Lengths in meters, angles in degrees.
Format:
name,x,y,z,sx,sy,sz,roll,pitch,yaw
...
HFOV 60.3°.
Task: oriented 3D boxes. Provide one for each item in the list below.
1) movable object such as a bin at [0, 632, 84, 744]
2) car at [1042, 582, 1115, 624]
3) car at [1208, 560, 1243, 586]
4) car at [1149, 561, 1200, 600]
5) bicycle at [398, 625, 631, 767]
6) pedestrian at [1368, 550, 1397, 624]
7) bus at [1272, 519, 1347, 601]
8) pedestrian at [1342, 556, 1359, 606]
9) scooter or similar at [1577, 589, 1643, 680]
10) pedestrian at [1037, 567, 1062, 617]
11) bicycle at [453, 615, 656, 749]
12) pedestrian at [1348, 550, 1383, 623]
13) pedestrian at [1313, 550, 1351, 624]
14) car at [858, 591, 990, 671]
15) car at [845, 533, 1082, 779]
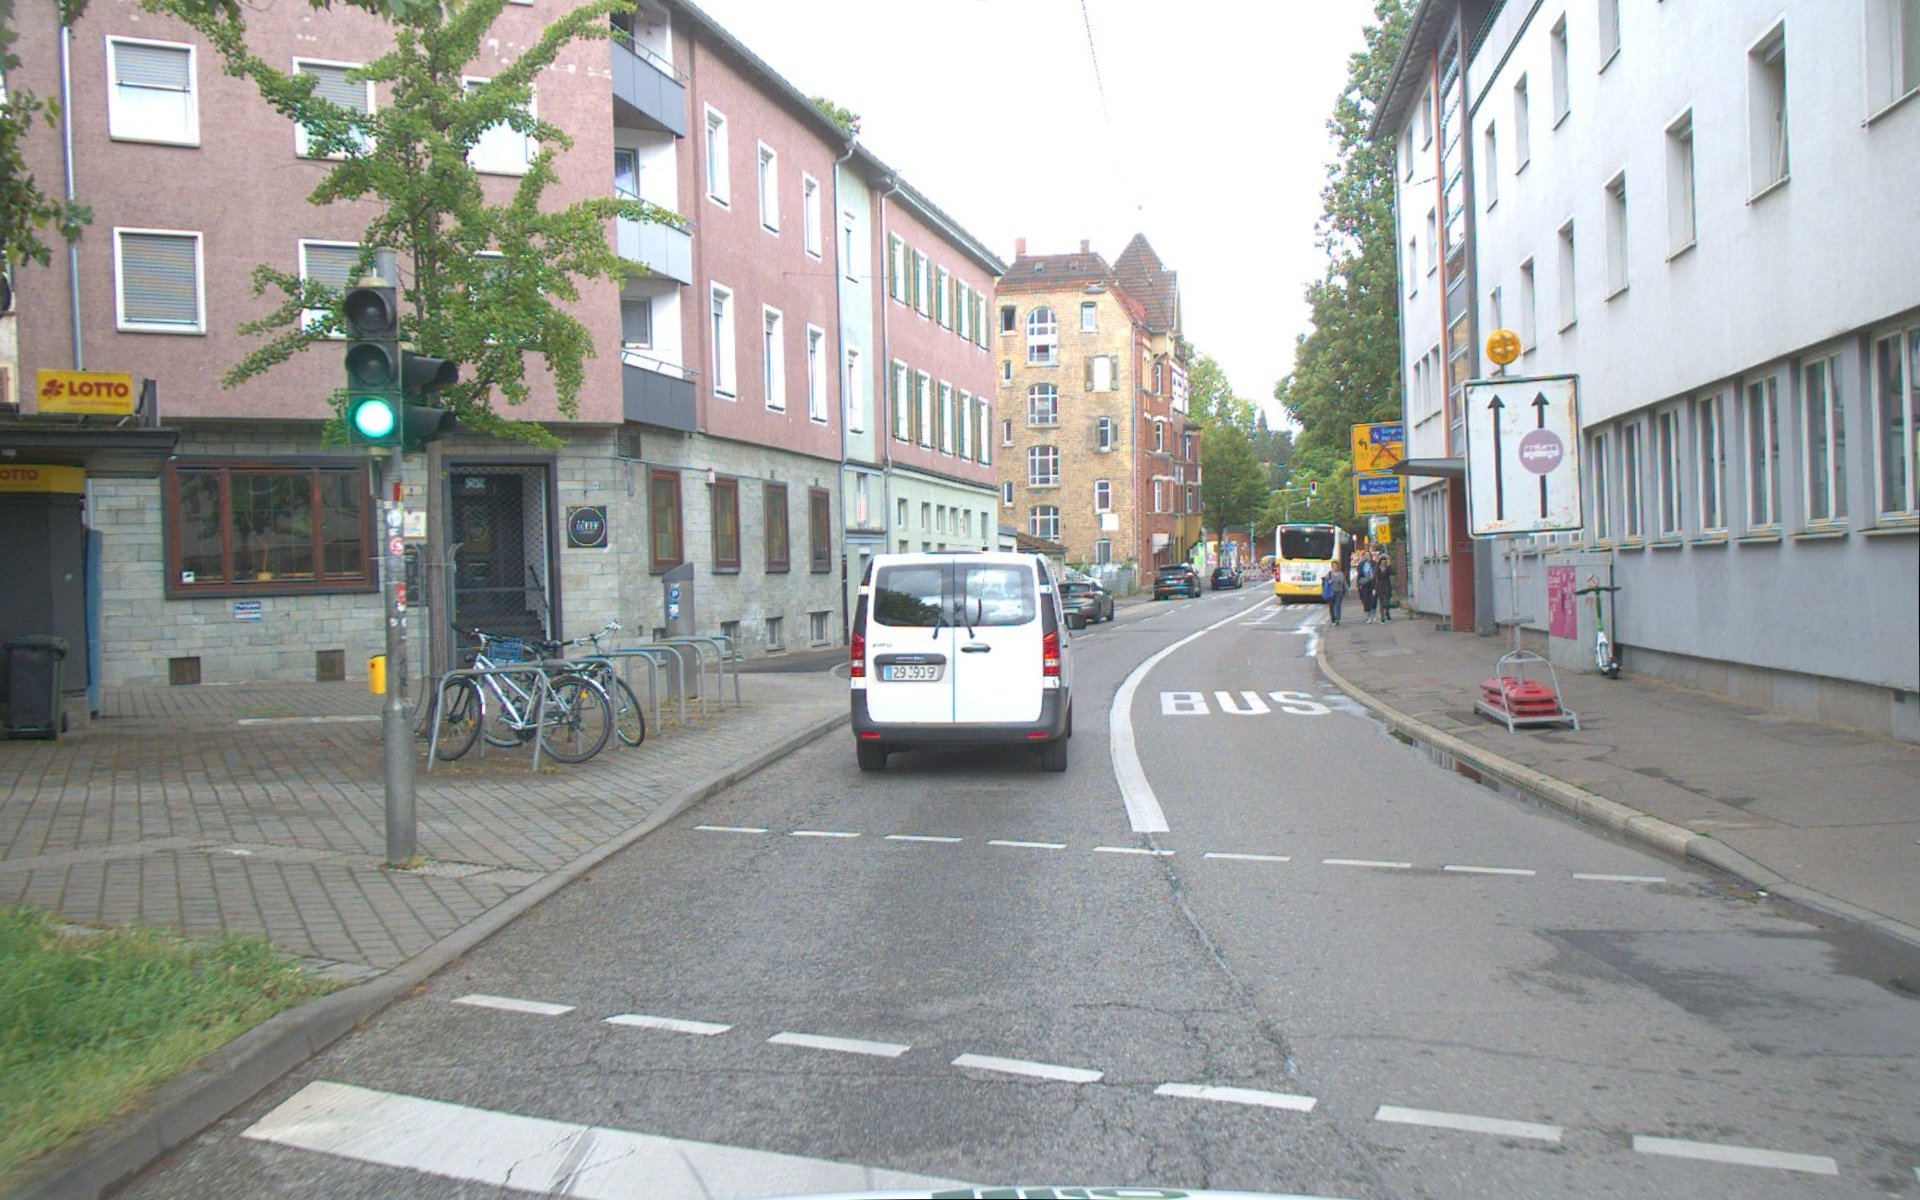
name,x,y,z,sx,sy,sz,roll,pitch,yaw
movable object such as a bin,-8.788,0.833,15.839,0.663,0.981,1.069,2,0,-29
car,3.977,0.116,55.017,1.951,1.312,4.003,1,0,11
car,17.214,-1.769,107.130,1.688,1.511,4.395,-1,3,16
car,10.606,-0.981,81.430,1.912,1.764,4.778,-1,1,14
bicycle,-3.780,0.795,14.064,1.829,1.133,0.578,1,0,11
pedestrian,10.531,-0.328,41.195,0.531,1.787,0.609,-3,1,22
bus,14.708,-1.689,69.133,2.606,3.190,10.049,1,1,15
pedestrian,14.073,-0.688,59.541,0.569,1.810,0.822,0,1,14
scooter or similar,8.512,0.434,21.683,0.419,1.116,1.440,-3,1,8
pedestrian,3.234,-0.295,59.603,0.745,1.774,0.985,1,0,12
bicycle,-3.737,0.747,15.373,1.769,1.197,0.723,0,0,-11
pedestrian,10.320,-0.347,42.095,0.672,1.787,0.879,-4,1,8
pedestrian,9.575,-0.347,42.589,0.786,1.824,0.943,-4,1,8
car,-0.649,0.580,33.949,1.790,1.480,4.588,-2,0,10
car,0.180,0.464,15.673,1.877,1.935,4.703,1,0,4
